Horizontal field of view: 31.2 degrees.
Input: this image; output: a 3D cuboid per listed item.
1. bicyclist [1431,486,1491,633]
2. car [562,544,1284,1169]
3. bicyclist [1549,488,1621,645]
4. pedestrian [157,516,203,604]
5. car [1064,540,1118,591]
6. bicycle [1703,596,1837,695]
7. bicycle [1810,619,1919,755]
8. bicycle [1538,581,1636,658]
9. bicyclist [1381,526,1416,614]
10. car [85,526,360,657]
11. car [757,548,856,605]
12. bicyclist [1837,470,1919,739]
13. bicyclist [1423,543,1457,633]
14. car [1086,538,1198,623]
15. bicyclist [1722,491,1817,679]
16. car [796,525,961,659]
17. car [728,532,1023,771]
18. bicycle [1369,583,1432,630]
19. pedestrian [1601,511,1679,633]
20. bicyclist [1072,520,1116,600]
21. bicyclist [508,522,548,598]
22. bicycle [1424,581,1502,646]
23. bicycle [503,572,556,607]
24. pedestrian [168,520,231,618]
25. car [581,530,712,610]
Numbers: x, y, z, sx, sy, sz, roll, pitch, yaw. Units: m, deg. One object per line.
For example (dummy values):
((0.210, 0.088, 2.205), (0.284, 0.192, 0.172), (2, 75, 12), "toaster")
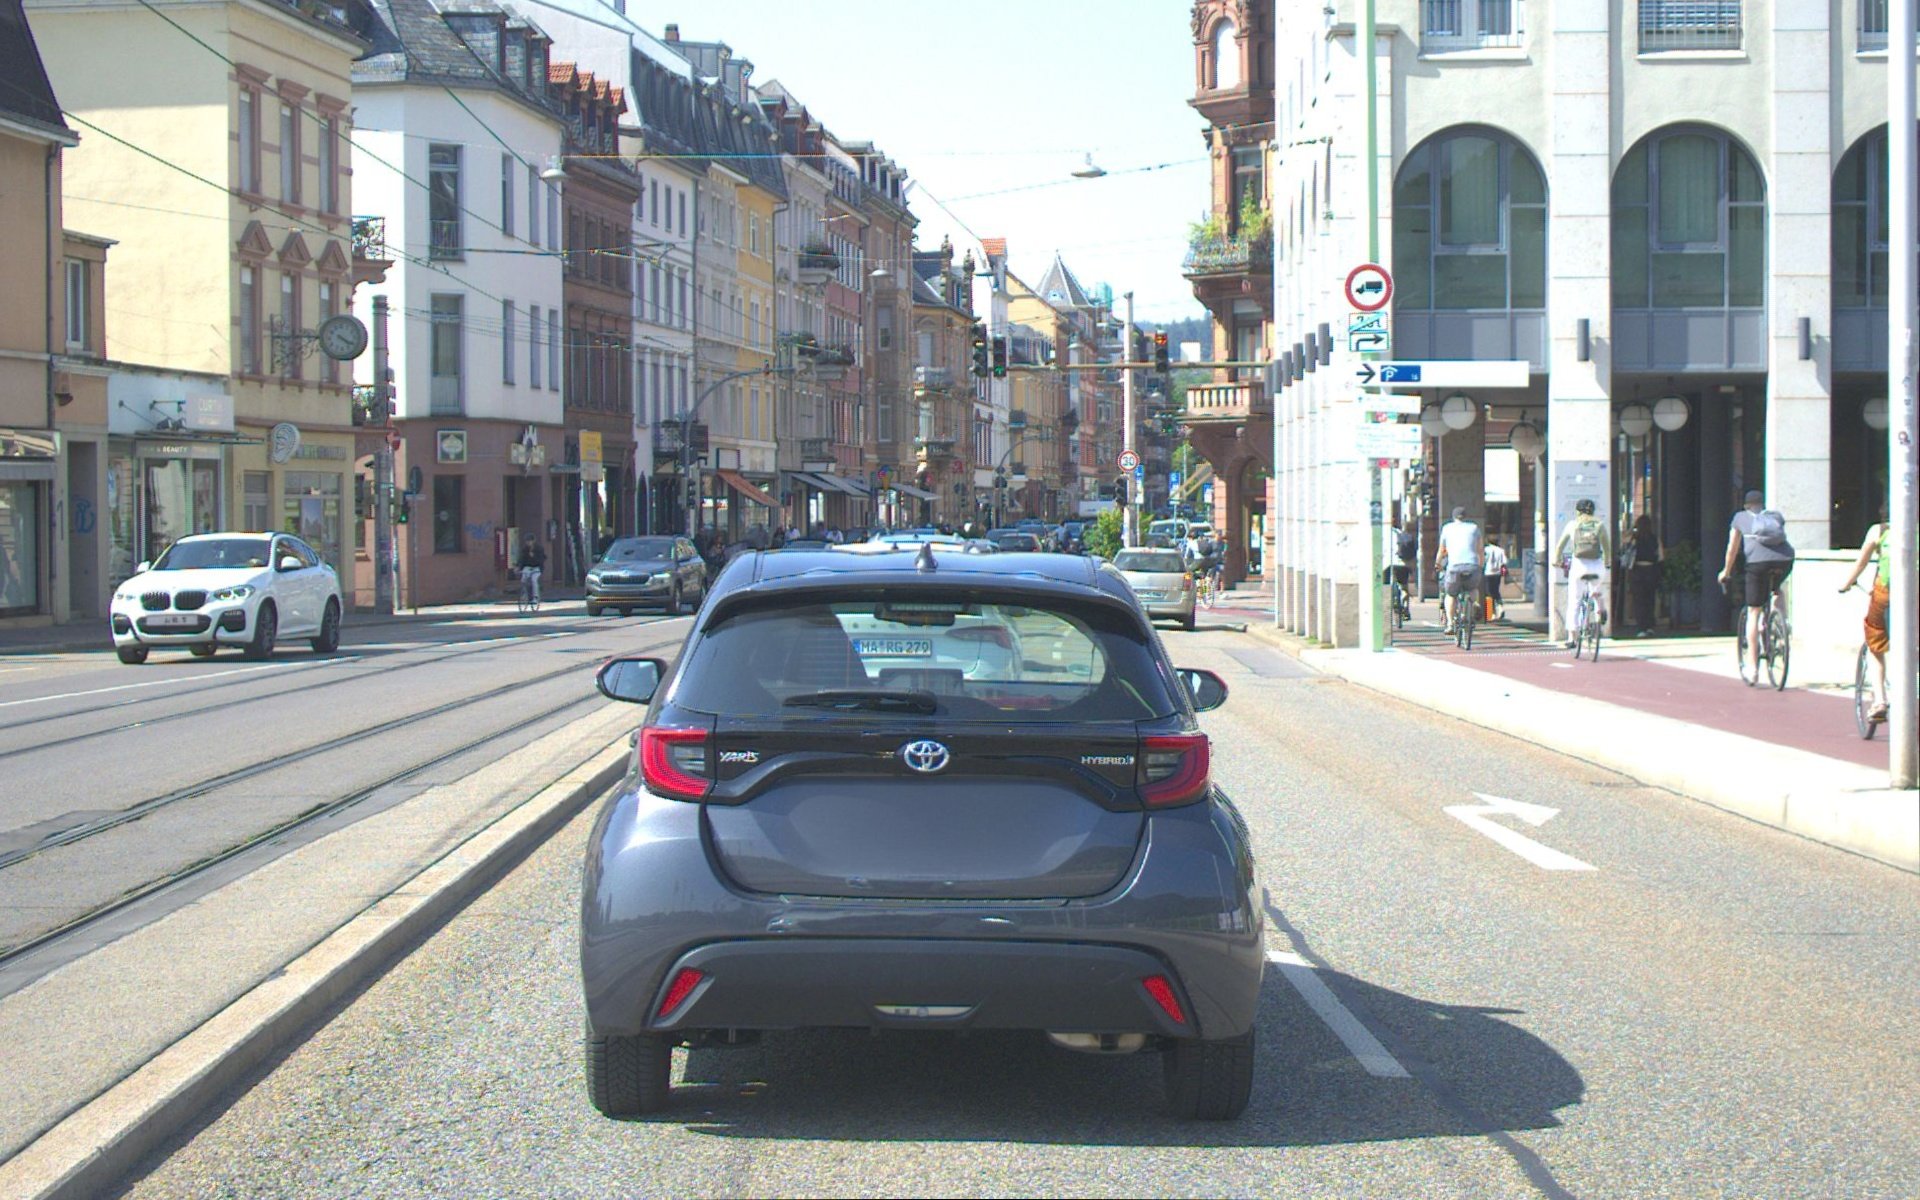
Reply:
((6.286, -0.506, 43.120), (0.586, 1.814, 0.702), (-1, 1, -3), "bicyclist")
((-0.125, 0.595, 10.155), (1.720, 1.468, 3.658), (1, 1, -1), "car")
((6.692, -0.361, 36.806), (0.586, 1.645, 0.702), (-1, 1, -3), "bicyclist")
((-14.669, -0.759, 64.676), (0.649, 1.596, 0.566), (4, 3, 0), "pedestrian")
((5.580, -1.478, 145.818), (1.994, 2.006, 4.000), (4, 1, 4), "car")
((6.838, 0.374, 29.106), (0.593, 0.763, 1.831), (-1, 1, -3), "bicycle")
((5.899, 0.529, 21.670), (0.593, 0.763, 1.867), (-1, 1, 0), "bicycle")
((6.699, 0.201, 36.793), (0.593, 0.763, 1.867), (-1, 1, -3), "bicycle")
((7.353, -0.500, 57.650), (0.442, 1.461, 0.484), (-2, 1, 21), "bicyclist")
((-9.336, -0.143, 43.929), (1.994, 1.581, 4.651), (0, 1, 7), "car")
((-4.011, -0.640, 90.391), (1.994, 1.427, 3.999), (1, 1, 6), "car")
((5.886, 0.019, 21.493), (0.605, 1.645, 0.702), (-1, 1, 0), "bicyclist")
((7.521, -0.192, 53.881), (0.422, 1.378, 0.443), (-2, 1, -1), "bicyclist")
((3.287, -0.379, 62.783), (1.705, 1.461, 4.326), (1, 1, -1), "car")
((6.833, -0.131, 29.054), (0.586, 1.553, 0.702), (-1, 1, -3), "bicyclist")
((-0.994, -0.134, 42.332), (1.897, 1.525, 4.000), (1, 1, -1), "car")
((-0.586, 0.296, 24.459), (1.897, 1.525, 4.000), (1, 1, -1), "car")
((7.392, 0.111, 57.661), (0.959, 0.763, 0.417), (-1, 1, 22), "bicycle")
((9.376, -0.386, 47.410), (0.739, 1.609, 1.016), (4, 1, -1), "pedestrian")
((4.445, -1.322, 113.697), (1.228, 2.520, 1.105), (5, 1, 4), "bicyclist")
((-9.547, -0.896, 75.962), (0.705, 1.644, 0.621), (2, 2, 8), "bicyclist")
((6.298, 0.165, 43.105), (0.593, 0.763, 1.867), (-1, 1, -3), "bicycle")
((-9.533, -0.241, 76.124), (0.620, 0.713, 2.044), (2, 2, 9), "bicycle")
((-13.280, -0.537, 60.076), (0.762, 1.648, 0.711), (4, 1, 8), "pedestrian")
((-6.207, -0.615, 68.478), (1.794, 1.540, 3.920), (0, 1, 7), "car")
